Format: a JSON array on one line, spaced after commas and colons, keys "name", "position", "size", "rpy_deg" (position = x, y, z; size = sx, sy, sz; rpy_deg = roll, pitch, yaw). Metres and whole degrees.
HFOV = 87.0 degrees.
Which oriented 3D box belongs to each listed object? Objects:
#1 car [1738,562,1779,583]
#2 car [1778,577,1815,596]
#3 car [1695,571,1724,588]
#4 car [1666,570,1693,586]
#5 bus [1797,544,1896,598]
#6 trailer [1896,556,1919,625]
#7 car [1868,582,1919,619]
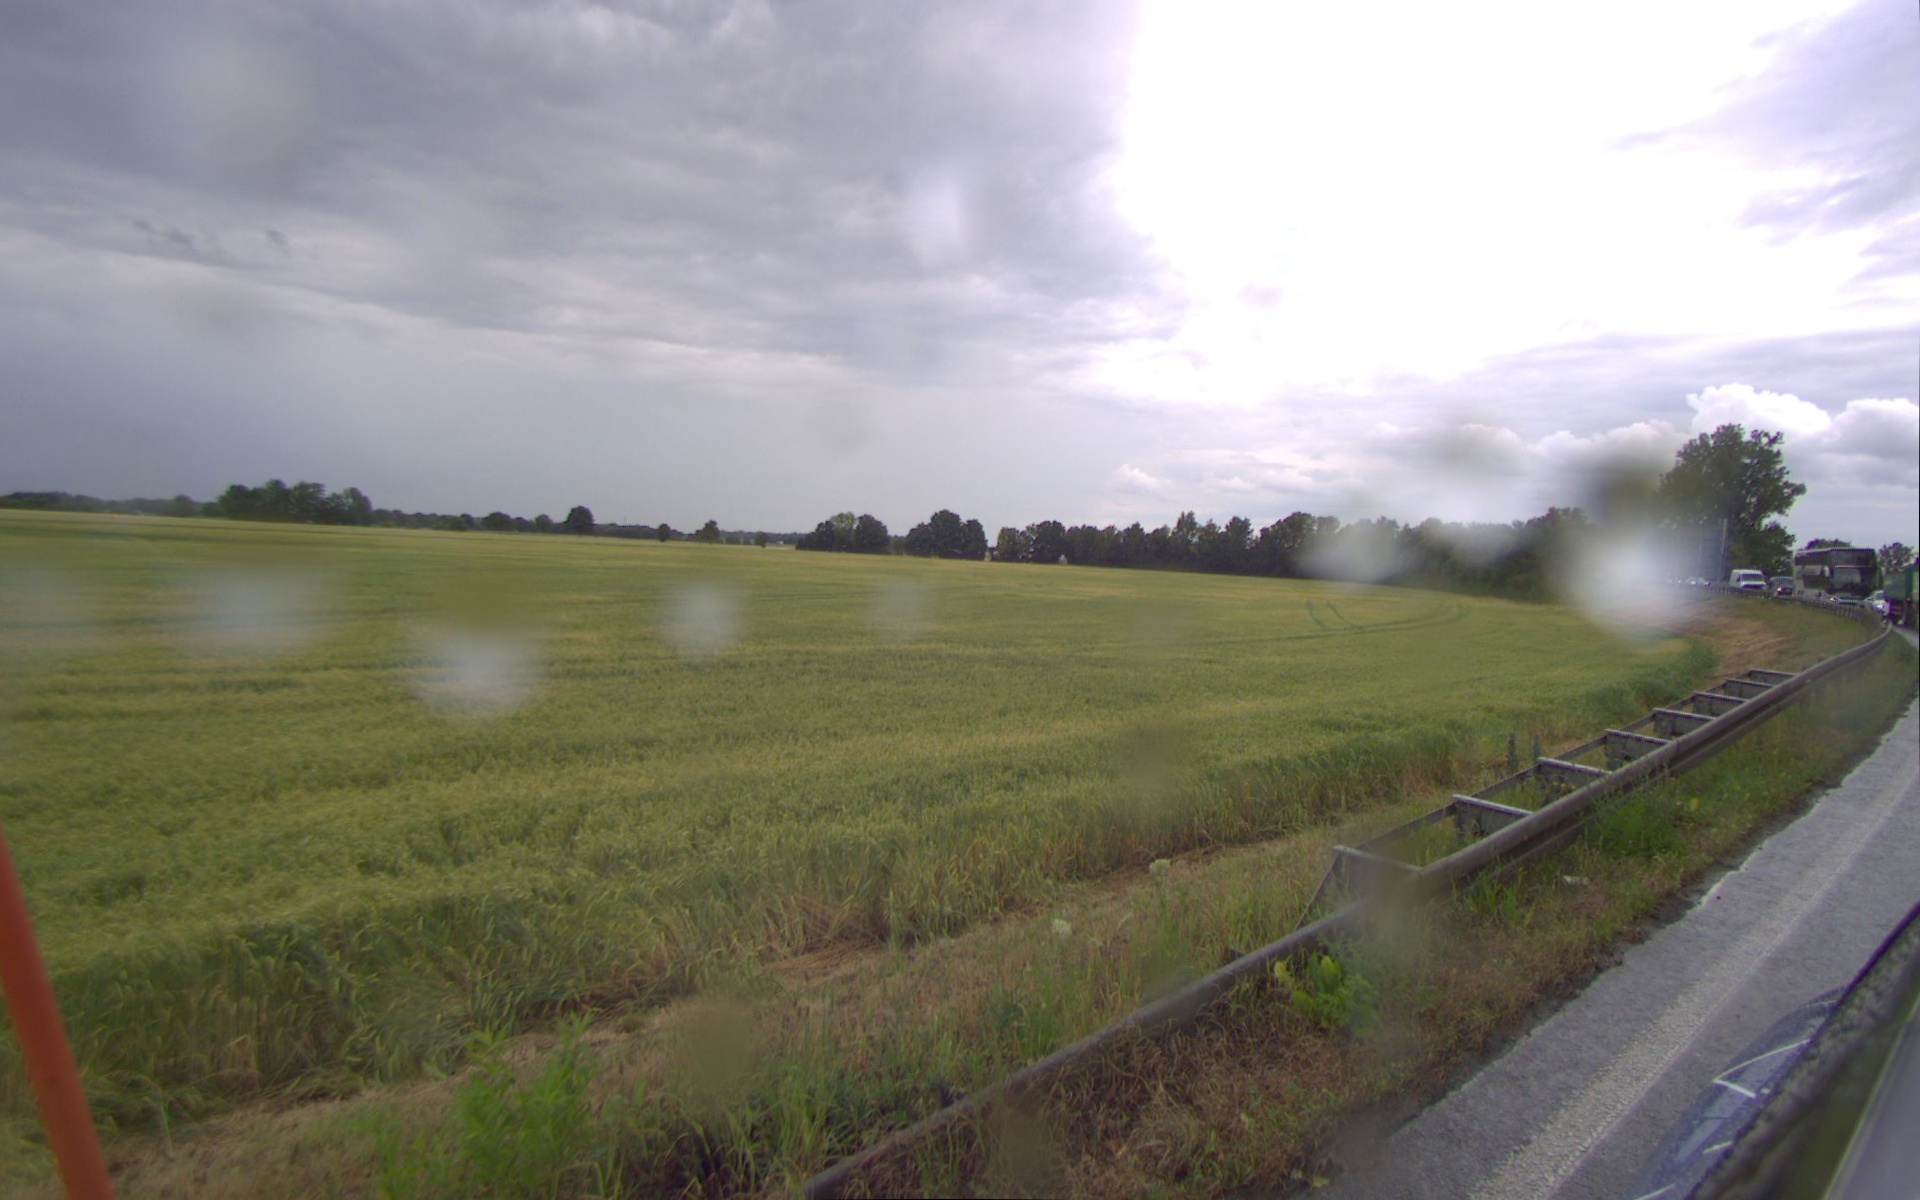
[{"name": "car", "position": [79.530, -2.733, 100.834], "size": [1.979, 2.039, 5.291], "rpy_deg": [0, 1, 25]}, {"name": "car", "position": [70.660, -1.177, 85.509], "size": [1.800, 1.597, 3.957], "rpy_deg": [0, 1, 31]}, {"name": "car", "position": [91.327, -2.525, 123.408], "size": [1.978, 2.039, 4.198], "rpy_deg": [0, 1, 24]}, {"name": "car", "position": [95.737, -2.954, 134.751], "size": [1.976, 2.039, 4.235], "rpy_deg": [0, 1, 22]}, {"name": "bus", "position": [61.064, -2.066, 70.082], "size": [2.944, 3.353, 14.669], "rpy_deg": [0, 2, 32]}, {"name": "trailer", "position": [39.749, -0.407, 39.997], "size": [2.971, 2.665, 15.463], "rpy_deg": [0, 1, 39]}, {"name": "car", "position": [49.749, -0.021, 53.521], "size": [2.031, 1.865, 5.268], "rpy_deg": [0, 1, 36]}]
